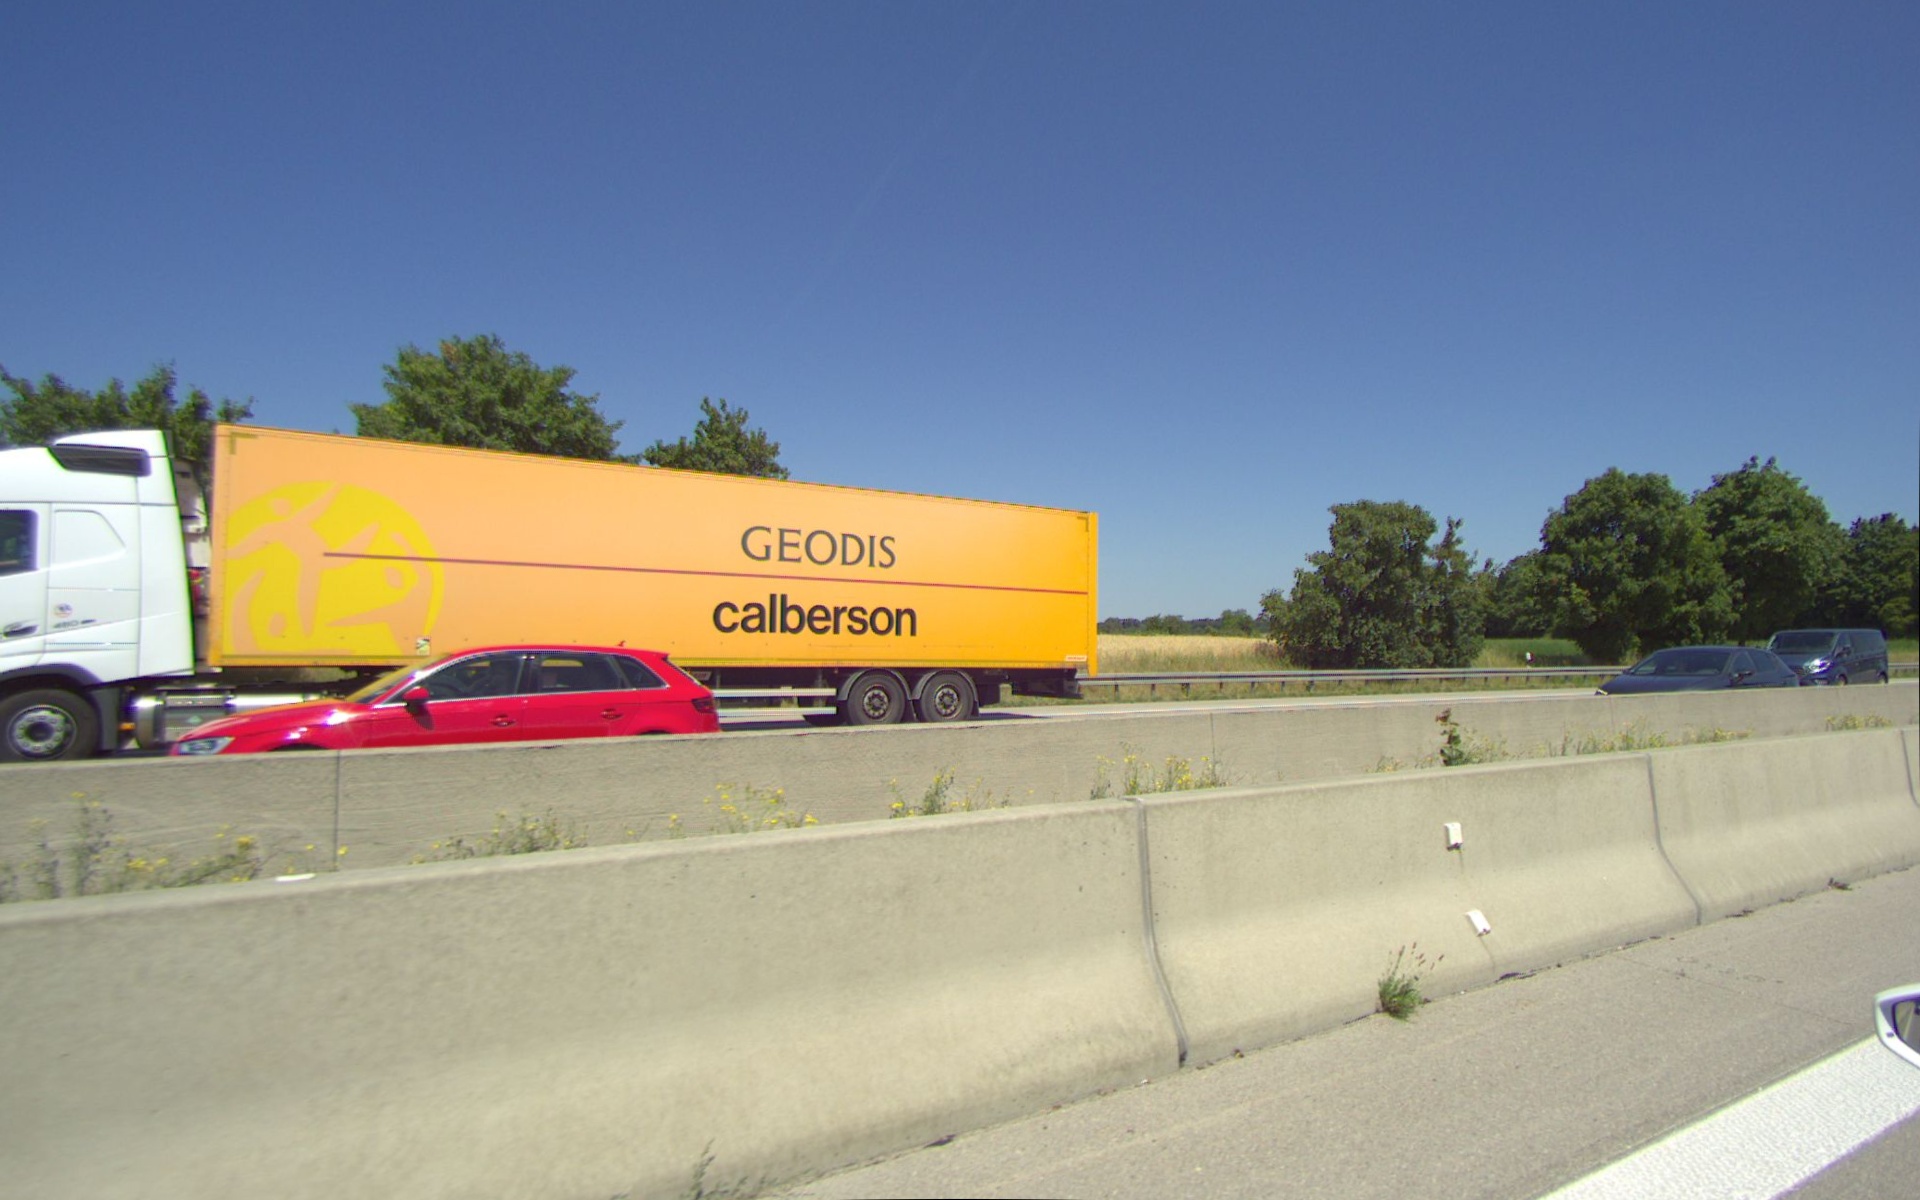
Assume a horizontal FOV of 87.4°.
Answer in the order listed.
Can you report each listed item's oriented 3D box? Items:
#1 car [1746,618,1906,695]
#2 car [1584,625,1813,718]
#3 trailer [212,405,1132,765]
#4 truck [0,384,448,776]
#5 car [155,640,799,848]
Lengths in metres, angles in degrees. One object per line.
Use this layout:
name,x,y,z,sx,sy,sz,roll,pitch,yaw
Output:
car,25.475,1.590,29.491,5.453,2.027,1.921,1,0,-31
car,12.405,1.127,16.826,3.954,1.349,1.682,1,0,-31
trailer,-3.461,0.041,16.666,13.976,4.253,2.859,2,-3,-31
truck,-9.638,-0.121,12.995,5.169,4.250,2.855,2,-3,-30
car,-3.980,1.070,8.933,4.662,1.412,1.984,1,-3,-31
